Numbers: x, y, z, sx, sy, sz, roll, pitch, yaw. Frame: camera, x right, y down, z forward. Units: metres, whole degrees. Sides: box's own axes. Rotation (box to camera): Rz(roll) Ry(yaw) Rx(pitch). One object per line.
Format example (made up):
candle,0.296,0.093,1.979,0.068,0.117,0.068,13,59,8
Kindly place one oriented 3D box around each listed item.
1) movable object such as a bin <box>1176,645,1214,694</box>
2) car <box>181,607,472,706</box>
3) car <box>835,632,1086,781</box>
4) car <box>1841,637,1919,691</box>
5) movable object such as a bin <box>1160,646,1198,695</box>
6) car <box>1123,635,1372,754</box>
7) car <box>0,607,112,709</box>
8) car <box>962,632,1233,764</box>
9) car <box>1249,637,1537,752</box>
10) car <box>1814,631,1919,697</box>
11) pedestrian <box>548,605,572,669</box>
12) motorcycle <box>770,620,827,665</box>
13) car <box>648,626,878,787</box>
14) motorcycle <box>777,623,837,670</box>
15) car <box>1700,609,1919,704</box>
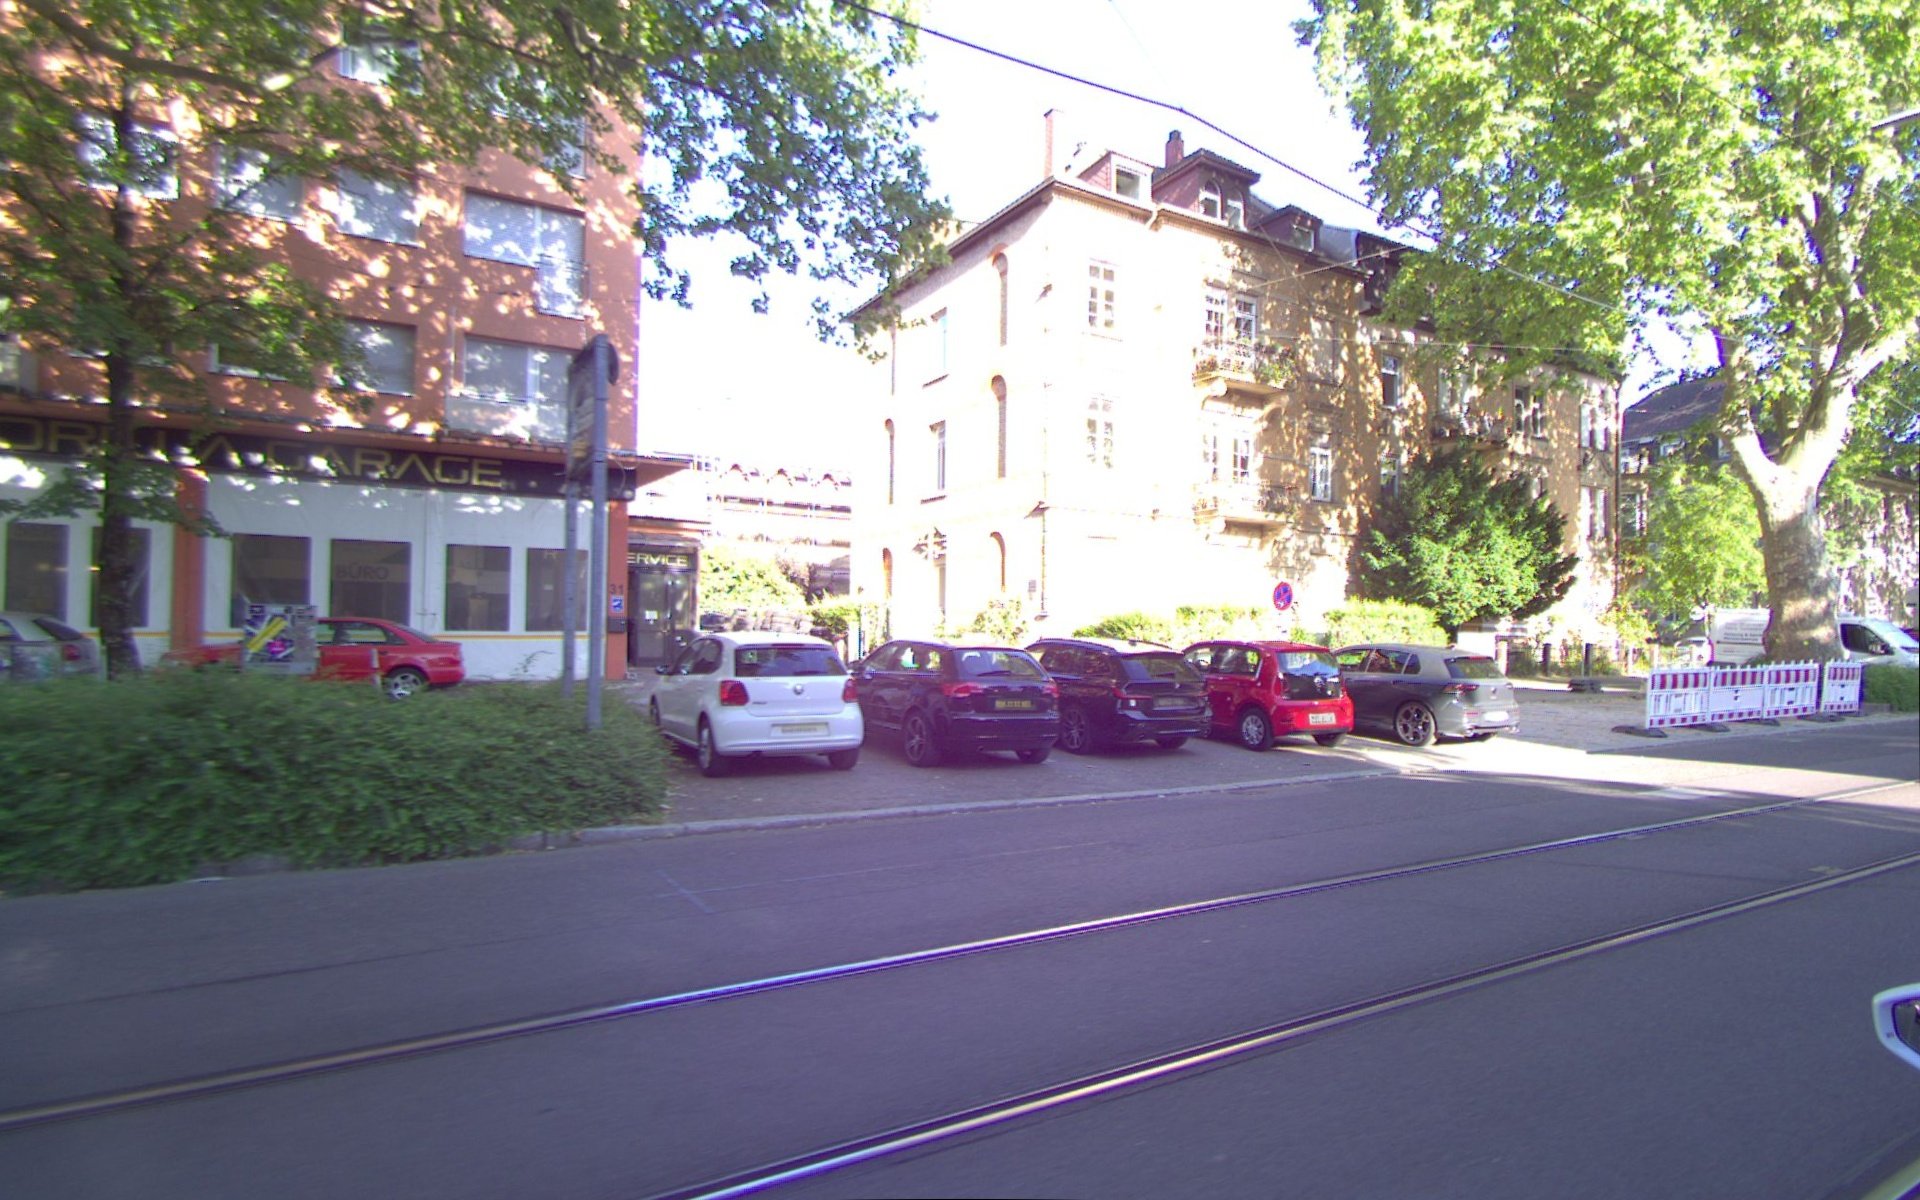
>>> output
movable object such as a bin,5.666,1.663,24.243,0.554,1.124,0.720,2,-1,-28
car,-10.586,0.921,17.119,3.953,1.507,1.939,2,-1,-30
car,-0.146,1.201,12.585,1.665,1.484,3.588,2,-1,-28
car,30.246,2.004,30.980,1.905,1.628,4.276,2,-1,-32
movable object such as a bin,5.212,1.662,23.928,0.536,1.124,0.721,2,-1,-28
car,4.187,1.318,15.106,1.737,1.484,3.406,2,-1,-28
car,-14.958,0.794,14.455,3.846,1.426,1.939,2,-1,-30
car,1.777,1.265,14.319,1.798,1.484,4.067,2,-1,-28
car,6.800,1.411,16.196,1.832,1.484,3.968,2,-1,-30
car,28.097,1.881,29.496,1.905,1.825,4.276,2,-1,-32
pedestrian,-11.430,1.060,28.684,0.514,1.801,0.536,2,-1,-31
motorcycle,-4.811,1.261,29.999,1.545,1.305,0.590,2,-1,-31
car,-2.387,1.083,11.520,1.675,1.484,3.406,2,-1,-28
motorcycle,-4.464,1.354,29.331,1.609,1.321,0.639,2,-1,-31
car,22.971,1.414,26.630,2.063,2.289,5.004,2,-1,-33
